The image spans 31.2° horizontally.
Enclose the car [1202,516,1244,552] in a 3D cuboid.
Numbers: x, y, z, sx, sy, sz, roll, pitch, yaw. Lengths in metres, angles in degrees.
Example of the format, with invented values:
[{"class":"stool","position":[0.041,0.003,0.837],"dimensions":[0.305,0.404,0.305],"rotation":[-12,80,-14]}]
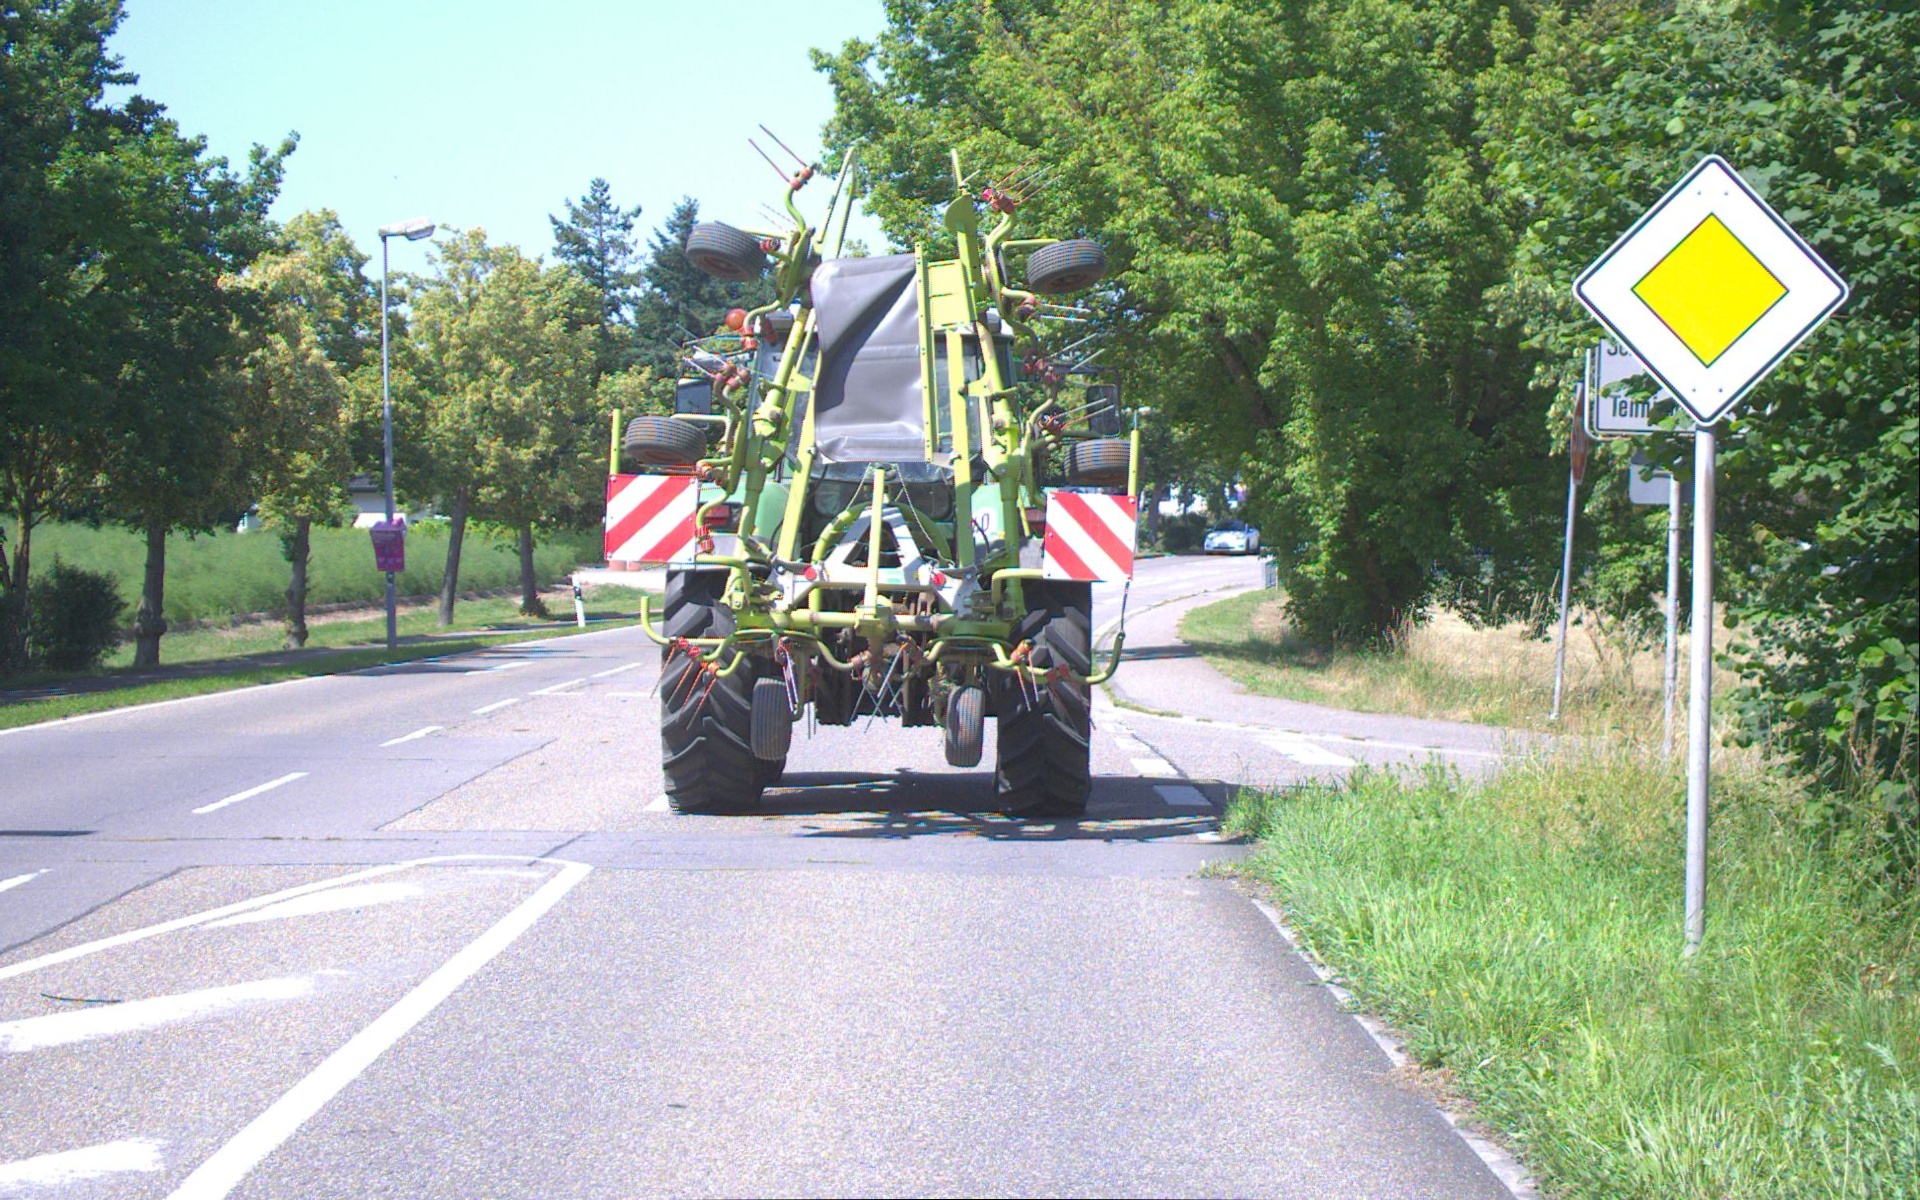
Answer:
[{"class":"car","position":[12.004,-3.012,156.784],"dimensions":[1.649,1.429,3.896],"rotation":[4,3,7]}]

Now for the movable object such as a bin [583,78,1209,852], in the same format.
[{"class":"movable object such as a bin","position":[-0.476,-0.679,20.567],"dimensions":[2.852,3.529,9.702],"rotation":[0,1,-2]}]
